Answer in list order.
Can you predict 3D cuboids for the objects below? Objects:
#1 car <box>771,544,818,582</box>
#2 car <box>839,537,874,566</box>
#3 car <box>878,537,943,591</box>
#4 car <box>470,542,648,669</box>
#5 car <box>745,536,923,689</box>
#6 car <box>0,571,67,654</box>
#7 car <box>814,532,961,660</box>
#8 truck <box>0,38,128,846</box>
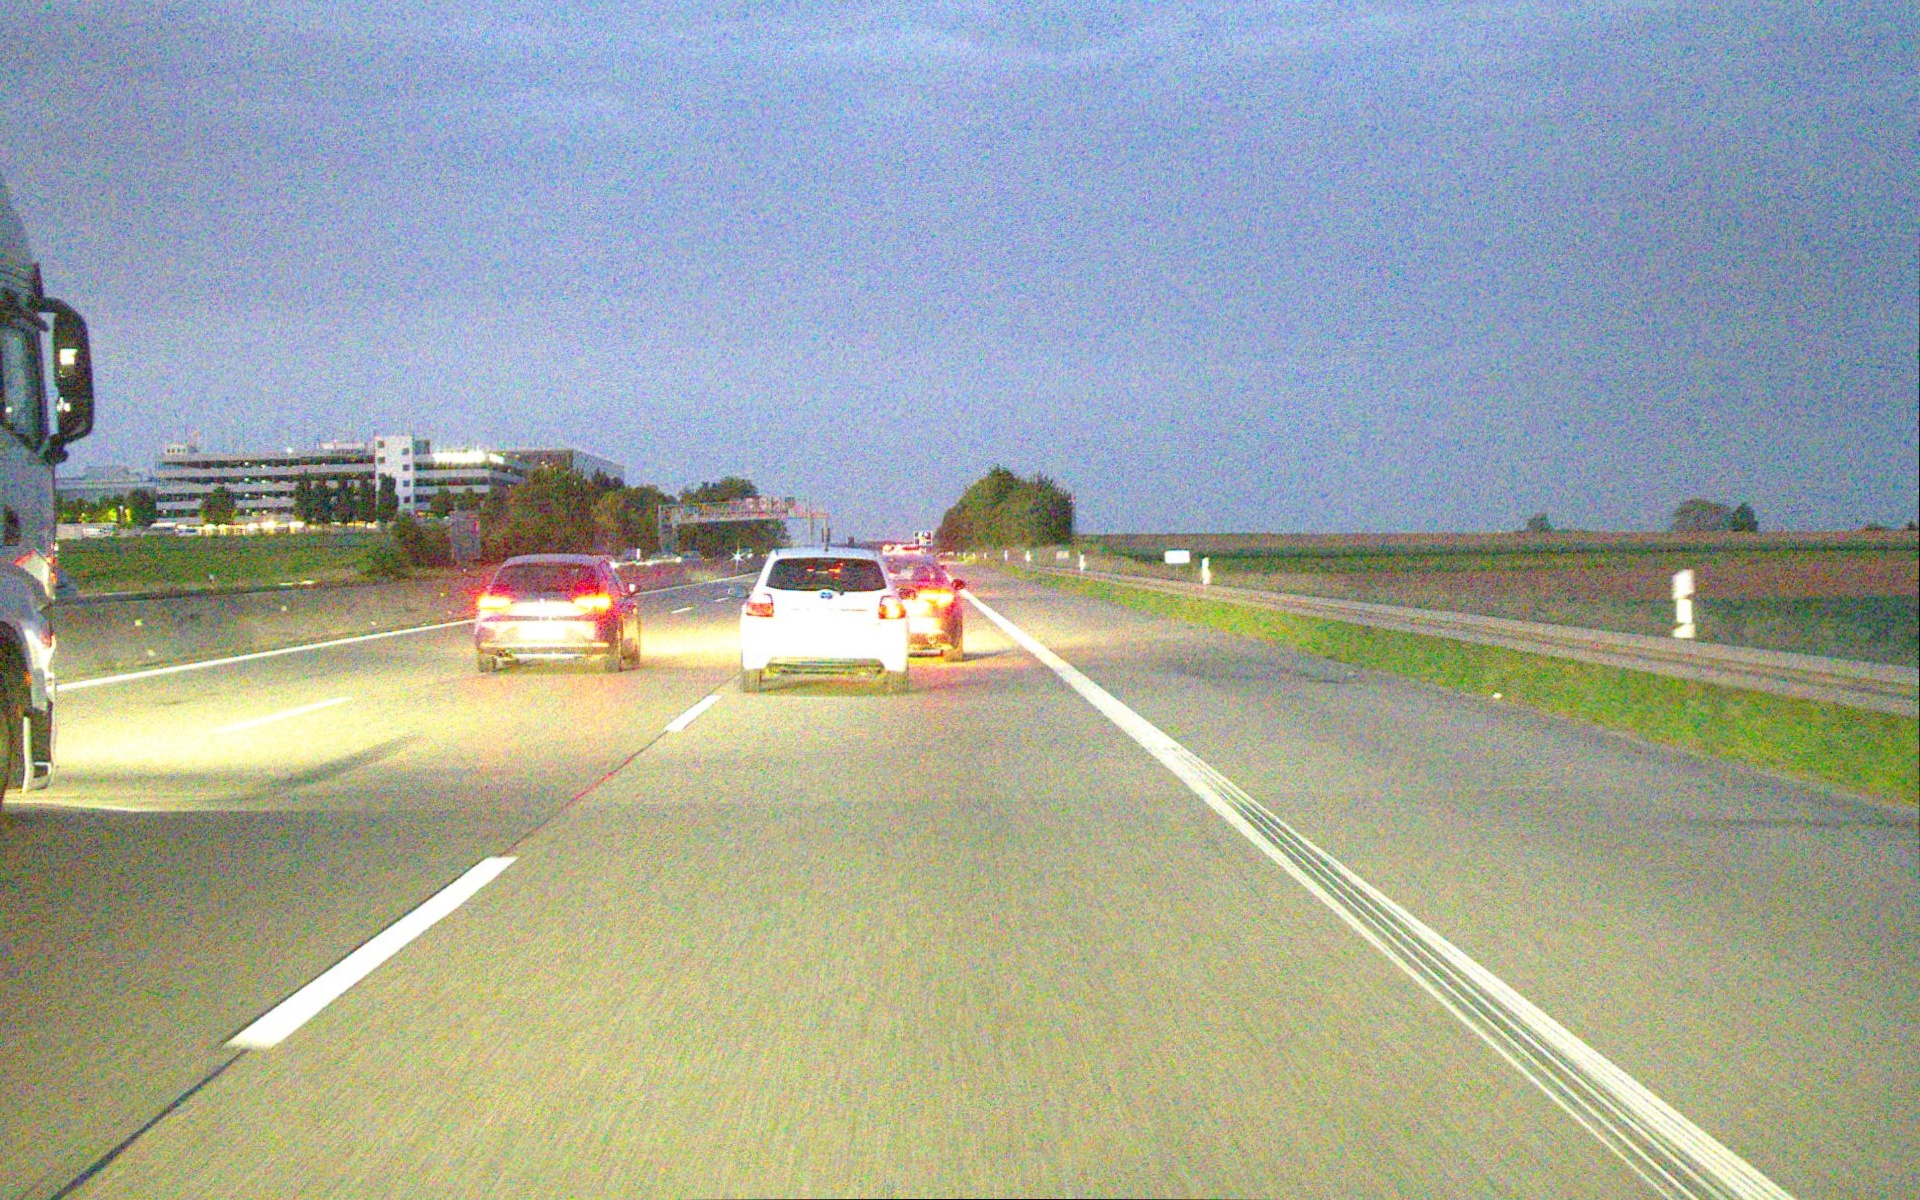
[{"bbox_3d":[-7.010,-1.571,145.483,1.880,1.547,4.000,1,0,-1],"label":"car"},{"bbox_3d":[-6.696,-3.139,223.800,2.199,1.873,4.000,1,0,-1],"label":"car"},{"bbox_3d":[-1.492,-1.061,102.519,1.880,1.547,4.000,1,0,-1],"label":"car"},{"bbox_3d":[-4.890,0.049,42.478,1.722,1.466,4.726,1,0,-1],"label":"car"},{"bbox_3d":[-1.291,0.106,36.731,1.744,1.519,4.414,1,0,0],"label":"car"},{"bbox_3d":[-16.807,0.190,59.491,1.732,1.365,3.901,1,0,-1],"label":"car"},{"bbox_3d":[-0.968,-0.069,46.381,1.880,1.637,4.000,1,0,-1],"label":"car"},{"bbox_3d":[-6.232,-0.789,16.862,2.777,4.079,6.103,-1,0,0],"label":"truck"}]
